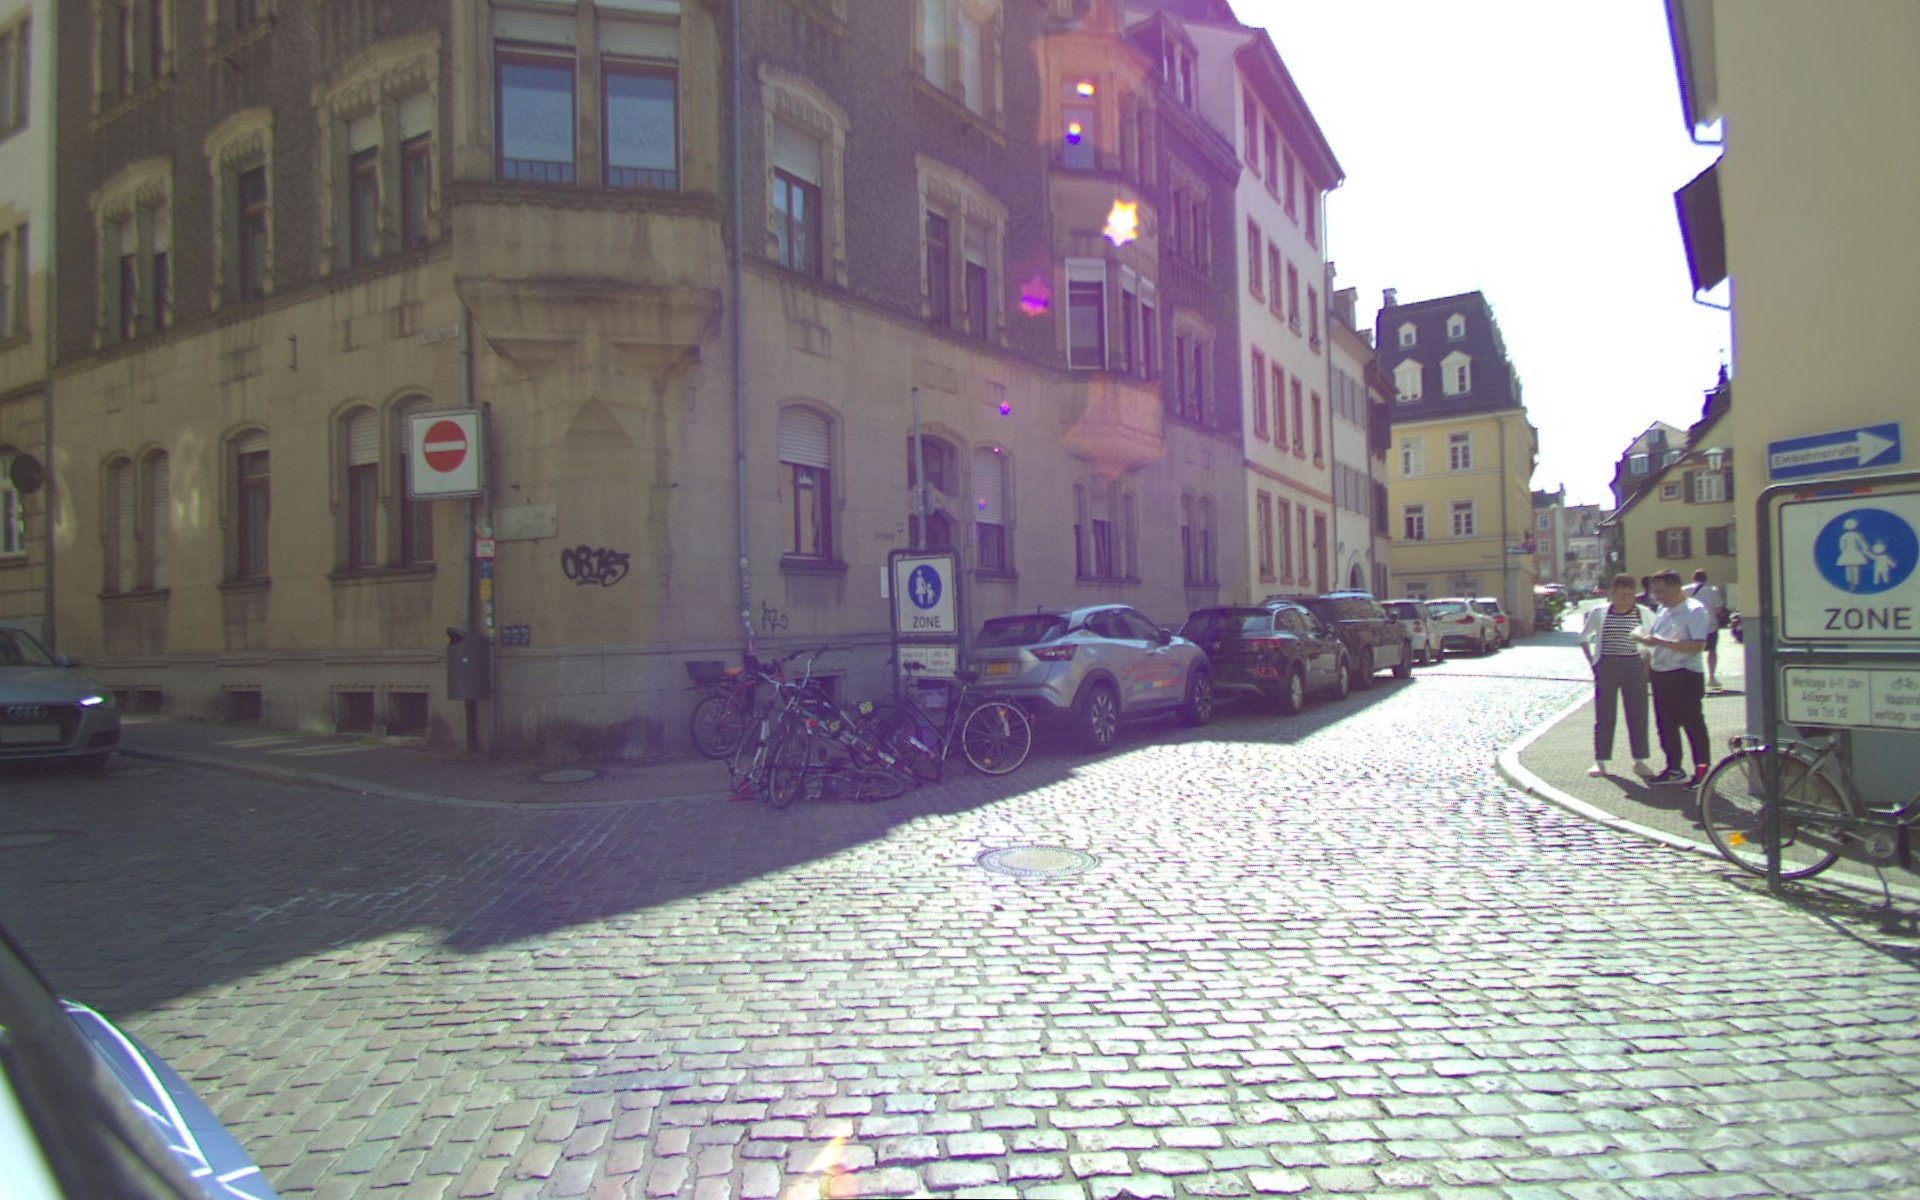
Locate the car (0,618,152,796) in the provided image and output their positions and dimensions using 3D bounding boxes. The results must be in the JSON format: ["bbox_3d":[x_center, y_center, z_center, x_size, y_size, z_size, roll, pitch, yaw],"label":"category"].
[{"bbox_3d":[-10.003,0.934,9.808,4.363,1.503,1.859,-1,-1,29],"label":"car"}]

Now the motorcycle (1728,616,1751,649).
[{"bbox_3d":[23.188,0.956,30.105,0.385,0.953,1.338,1,0,32],"label":"motorcycle"}]

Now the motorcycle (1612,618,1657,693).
[{"bbox_3d":[12.423,0.979,18.668,0.595,1.258,2.455,1,0,32],"label":"motorcycle"}]

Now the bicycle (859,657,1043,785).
[{"bbox_3d":[-0.085,1.119,9.364,1.624,1.094,0.285,-4,-4,10],"label":"bicycle"}]

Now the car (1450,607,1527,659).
[{"bbox_3d":[16.458,0.981,31.452,1.566,1.454,3.599,-1,0,37],"label":"car"}]

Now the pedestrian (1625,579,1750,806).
[{"bbox_3d":[5.465,0.671,7.637,0.487,1.630,0.655,-1,-1,11],"label":"pedestrian"}]

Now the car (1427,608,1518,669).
[{"bbox_3d":[13.813,0.989,27.188,1.566,1.454,3.599,-1,0,37],"label":"car"}]

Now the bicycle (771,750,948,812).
[{"bbox_3d":[-0.869,1.525,8.658,1.061,0.290,1.126,0,-2,-39],"label":"bicycle"}]

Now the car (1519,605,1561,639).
[{"bbox_3d":[36.016,1.357,62.799,1.994,2.029,3.954,-2,-2,33],"label":"car"}]

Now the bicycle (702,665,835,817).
[{"bbox_3d":[-1.619,1.107,8.358,0.281,1.094,1.645,-4,0,-38],"label":"bicycle"}]

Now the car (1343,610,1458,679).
[{"bbox_3d":[10.601,1.000,24.223,1.660,1.454,3.812,-1,0,37],"label":"car"}]

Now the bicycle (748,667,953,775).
[{"bbox_3d":[-0.999,1.102,9.297,1.634,1.080,0.287,-1,42,27],"label":"bicycle"}]

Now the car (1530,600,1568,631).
[{"bbox_3d":[40.448,1.068,69.421,1.994,2.029,3.954,-2,-2,33],"label":"car"}]

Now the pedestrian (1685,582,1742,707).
[{"bbox_3d":[11.035,0.616,14.818,0.618,1.757,0.851,1,2,39],"label":"pedestrian"}]

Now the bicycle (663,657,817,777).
[{"bbox_3d":[-2.282,1.183,10.666,0.495,1.094,1.622,3,1,37],"label":"bicycle"}]

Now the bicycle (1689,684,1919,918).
[{"bbox_3d":[4.819,0.999,5.008,0.385,1.087,1.914,0,-2,-36],"label":"bicycle"}]

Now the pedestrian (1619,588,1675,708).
[{"bbox_3d":[10.472,0.702,15.426,0.618,1.757,0.851,1,2,39],"label":"pedestrian"}]

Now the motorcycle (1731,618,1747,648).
[{"bbox_3d":[26.001,1.091,33.798,0.385,0.953,1.336,1,0,36],"label":"motorcycle"}]

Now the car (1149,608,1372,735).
[{"bbox_3d":[4.547,0.933,14.961,1.850,1.556,3.949,-1,0,38],"label":"car"}]

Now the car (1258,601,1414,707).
[{"bbox_3d":[6.840,0.874,18.175,1.566,1.648,3.812,-1,0,37],"label":"car"}]

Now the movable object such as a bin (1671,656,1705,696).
[{"bbox_3d":[11.480,1.185,15.973,0.299,0.568,1.230,-2,-2,30],"label":"movable object such as a bin"}]

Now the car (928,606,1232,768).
[{"bbox_3d":[1.549,0.889,11.847,1.849,1.556,3.880,-2,-2,36],"label":"car"}]

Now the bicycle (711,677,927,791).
[{"bbox_3d":[-1.225,1.165,8.859,1.634,1.080,0.287,-1,42,27],"label":"bicycle"}]

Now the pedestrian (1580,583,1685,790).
[{"bbox_3d":[5.617,0.680,8.473,0.689,1.630,0.748,-1,0,34],"label":"pedestrian"}]
